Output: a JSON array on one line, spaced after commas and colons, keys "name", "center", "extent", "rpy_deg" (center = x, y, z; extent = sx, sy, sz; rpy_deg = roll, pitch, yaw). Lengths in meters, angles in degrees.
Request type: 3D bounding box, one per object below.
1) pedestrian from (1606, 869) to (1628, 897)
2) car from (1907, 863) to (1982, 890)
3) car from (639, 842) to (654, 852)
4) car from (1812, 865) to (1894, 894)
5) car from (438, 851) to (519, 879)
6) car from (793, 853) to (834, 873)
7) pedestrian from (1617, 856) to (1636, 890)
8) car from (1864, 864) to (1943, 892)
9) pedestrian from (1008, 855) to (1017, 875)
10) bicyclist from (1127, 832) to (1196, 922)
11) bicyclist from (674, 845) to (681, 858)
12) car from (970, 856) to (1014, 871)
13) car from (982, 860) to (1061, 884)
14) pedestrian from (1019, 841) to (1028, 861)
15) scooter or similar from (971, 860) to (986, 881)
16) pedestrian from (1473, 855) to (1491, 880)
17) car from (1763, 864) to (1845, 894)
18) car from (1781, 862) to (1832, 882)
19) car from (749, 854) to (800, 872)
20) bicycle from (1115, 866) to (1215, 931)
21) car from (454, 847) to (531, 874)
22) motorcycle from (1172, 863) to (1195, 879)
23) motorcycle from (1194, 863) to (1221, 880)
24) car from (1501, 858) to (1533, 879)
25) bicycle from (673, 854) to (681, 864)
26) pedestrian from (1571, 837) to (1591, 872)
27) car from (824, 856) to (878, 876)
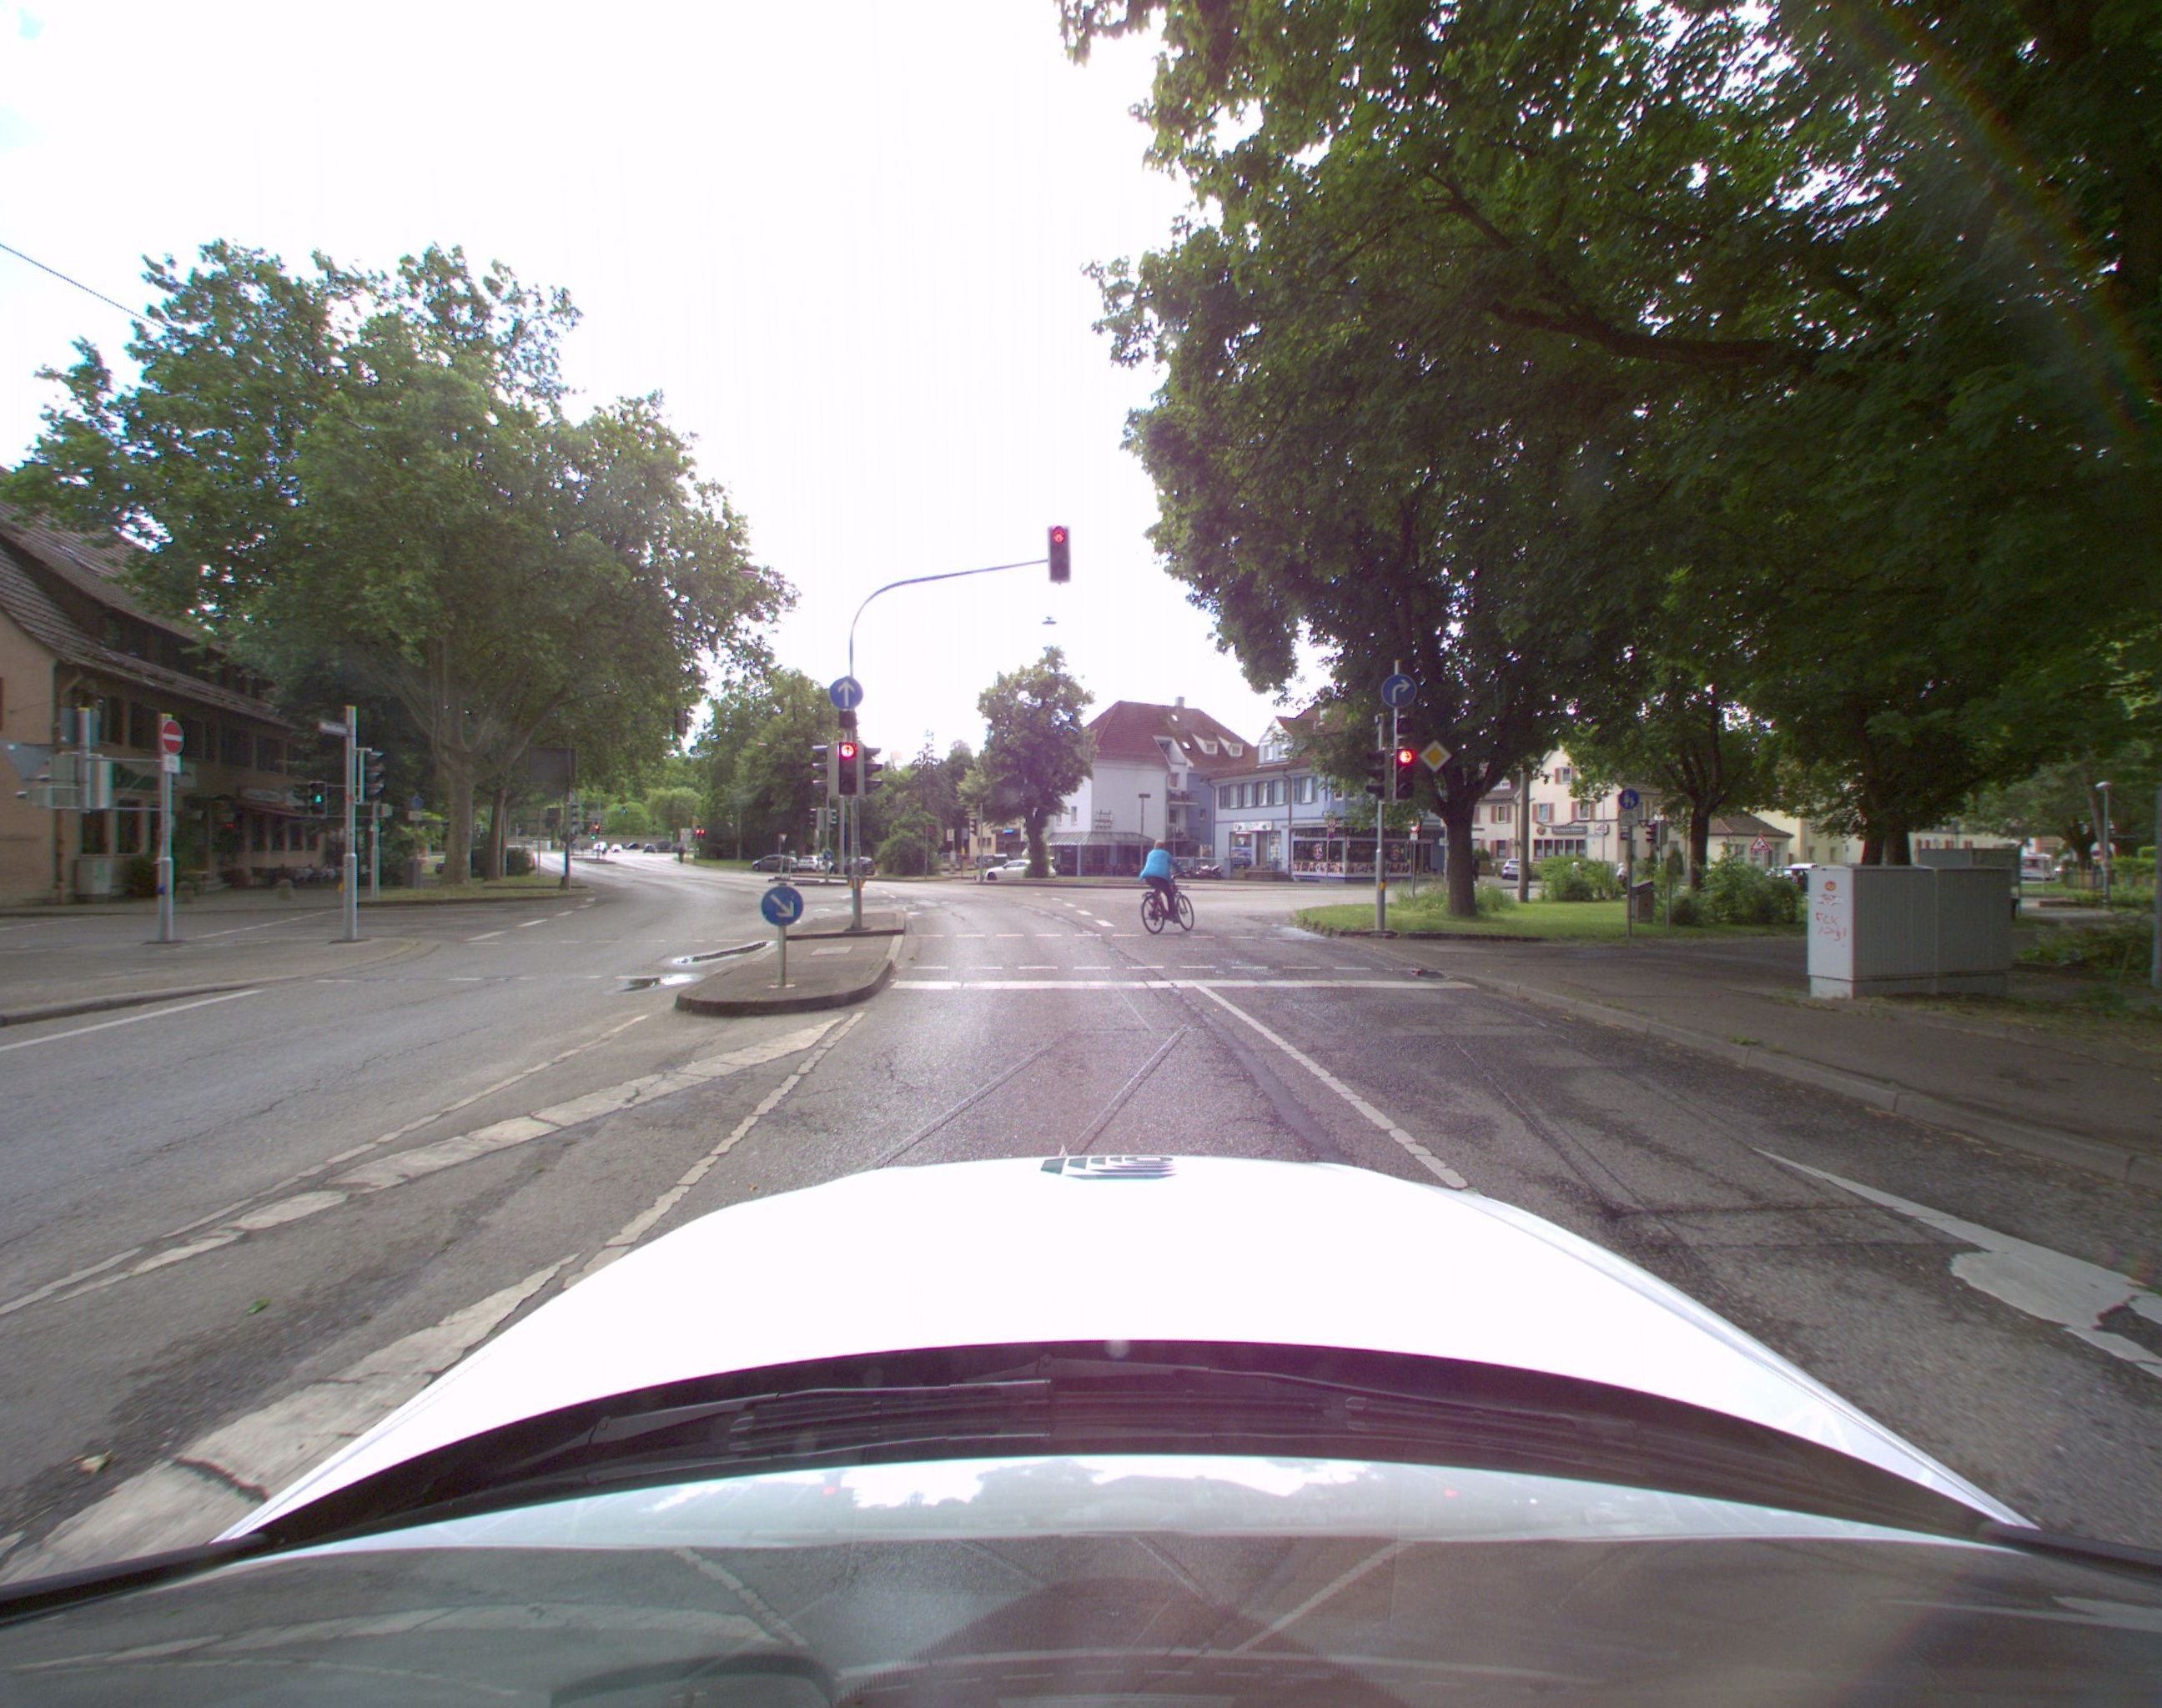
[{"name": "pedestrian", "center": [21.123, 1.148, 32.101], "extent": [0.506, 1.081, 0.513], "rpy_deg": [0, -1, -15]}, {"name": "car", "center": [50.709, 1.305, 47.831], "extent": [3.734, 1.457, 1.639], "rpy_deg": [0, 0, -20]}, {"name": "car", "center": [-78.184, -1.243, 146.532], "extent": [2.007, 1.596, 3.959], "rpy_deg": [0, -1, -32]}, {"name": "car", "center": [40.659, 1.309, 42.879], "extent": [3.734, 1.457, 1.639], "rpy_deg": [0, 0, -20]}, {"name": "car", "center": [-37.826, 0.684, 51.212], "extent": [4.018, 1.684, 1.978], "rpy_deg": [0, 0, -36]}, {"name": "car", "center": [-23.166, 0.780, 70.674], "extent": [1.849, 1.640, 3.765], "rpy_deg": [0, 0, 11]}, {"name": "pedestrian", "center": [25.185, 0.878, 37.603], "extent": [0.687, 1.560, 0.670], "rpy_deg": [-1, -1, 30]}, {"name": "car", "center": [45.315, 1.304, 44.851], "extent": [3.734, 1.457, 1.639], "rpy_deg": [0, 0, -20]}, {"name": "pedestrian", "center": [-7.139, 1.161, 84.948], "extent": [0.839, 2.014, 1.051], "rpy_deg": [0, 0, -15]}, {"name": "bicyclist", "center": [1.553, 0.424, 15.667], "extent": [0.994, 1.651, 0.907], "rpy_deg": [0, -1, -44]}, {"name": "bicyclist", "center": [-39.686, -0.239, 80.026], "extent": [0.543, 1.342, 0.707], "rpy_deg": [0, 0, -32]}, {"name": "car", "center": [-8.731, 0.929, 79.834], "extent": [3.951, 1.442, 1.741], "rpy_deg": [0, 0, -21]}, {"name": "car", "center": [-3.679, 1.093, 50.070], "extent": [4.654, 1.410, 1.914], "rpy_deg": [0, 0, 34]}, {"name": "pedestrian", "center": [-4.465, -0.202, 63.503], "extent": [0.539, 1.560, 0.469], "rpy_deg": [-1, -1, 13]}, {"name": "scooter or similar", "center": [-5.899, 0.952, 46.883], "extent": [0.439, 1.175, 1.441], "rpy_deg": [0, 0, 9]}, {"name": "pedestrian", "center": [24.988, 0.848, 50.733], "extent": [0.672, 1.560, 0.743], "rpy_deg": [0, -1, -15]}, {"name": "car", "center": [36.293, 1.231, 40.901], "extent": [3.473, 1.457, 1.639], "rpy_deg": [0, 0, -20]}, {"name": "car", "center": [53.863, 1.312, 60.463], "extent": [3.873, 1.447, 1.752], "rpy_deg": [0, -1, -31]}, {"name": "car", "center": [-25.492, 0.726, 67.678], "extent": [3.744, 1.465, 1.628], "rpy_deg": [0, 0, 18]}, {"name": "bicycle", "center": [1.655, 0.830, 15.757], "extent": [1.964, 1.149, 0.865], "rpy_deg": [0, 0, -44]}, {"name": "car", "center": [-38.769, 0.398, 53.739], "extent": [4.018, 1.684, 1.978], "rpy_deg": [0, 0, -36]}, {"name": "motorcycle", "center": [6.866, 1.123, 54.659], "extent": [1.441, 1.088, 0.527], "rpy_deg": [-1, 0, 35]}, {"name": "motorcycle", "center": [8.239, 1.142, 52.918], "extent": [1.609, 1.088, 0.631], "rpy_deg": [0, 0, 31]}, {"name": "car", "center": [30.160, 1.002, 56.277], "extent": [1.867, 1.391, 3.636], "rpy_deg": [0, 0, 29]}, {"name": "bicycle", "center": [-39.688, 0.479, 80.052], "extent": [0.560, 0.958, 2.013], "rpy_deg": [0, 0, -31]}, {"name": "pedestrian", "center": [22.723, 0.033, 37.042], "extent": [0.724, 1.560, 0.773], "rpy_deg": [-1, -1, 30]}, {"name": "car", "center": [-16.265, 0.809, 57.575], "extent": [3.286, 1.352, 1.791], "rpy_deg": [0, 0, 26]}]
